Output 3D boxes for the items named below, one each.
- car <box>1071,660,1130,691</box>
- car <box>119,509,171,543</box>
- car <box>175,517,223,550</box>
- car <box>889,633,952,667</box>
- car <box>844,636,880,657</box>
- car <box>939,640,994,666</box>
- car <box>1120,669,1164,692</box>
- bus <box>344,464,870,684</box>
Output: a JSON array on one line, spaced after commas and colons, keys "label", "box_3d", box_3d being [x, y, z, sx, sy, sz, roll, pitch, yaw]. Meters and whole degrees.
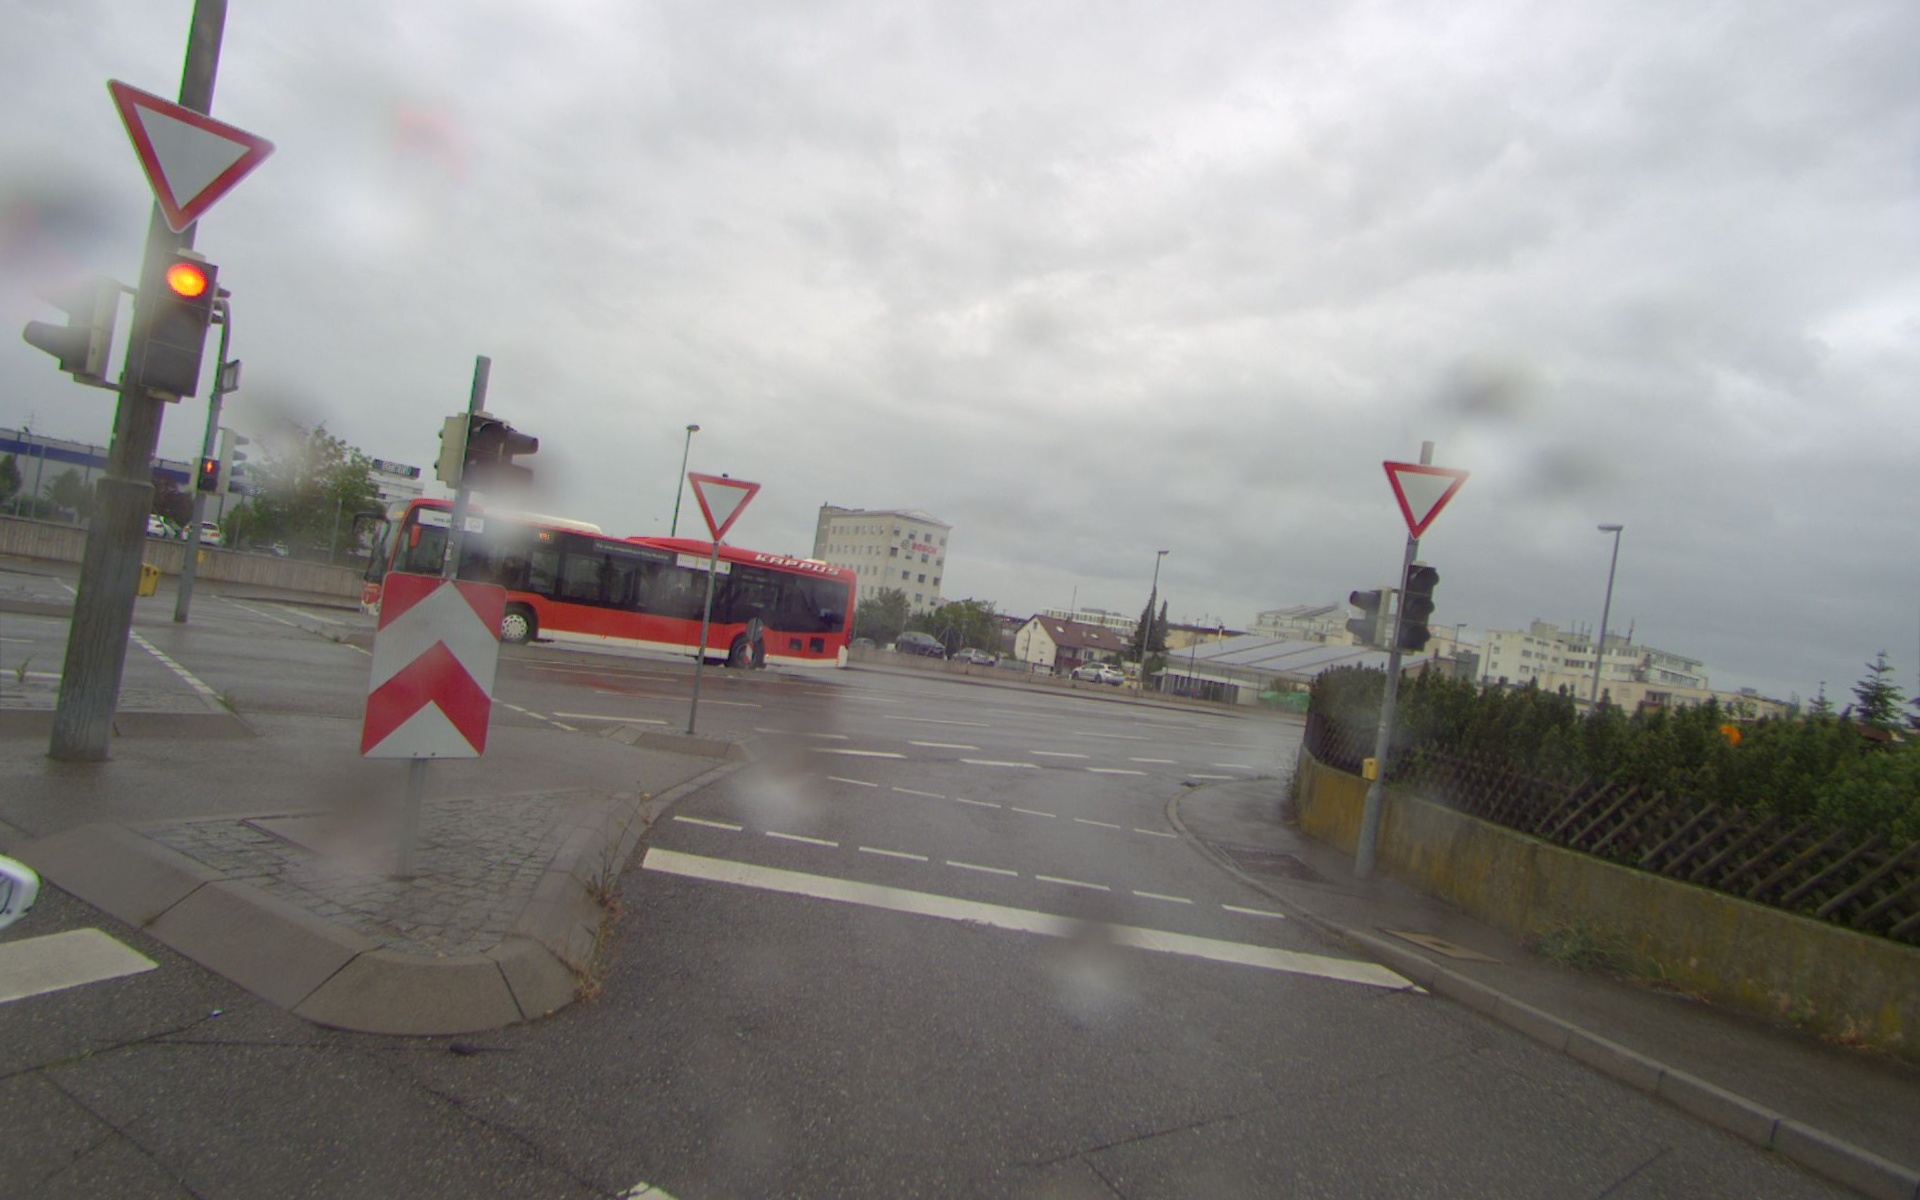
[{"label": "car", "box_3d": [9.736, 5.229, 70.044, 1.979, 1.494, 3.971, 9, -2, -29]}, {"label": "car", "box_3d": [-45.617, -4.157, 56.353, 1.985, 1.495, 3.959, 10, -2, -38]}, {"label": "car", "box_3d": [-43.897, -3.832, 58.020, 1.986, 1.495, 3.958, 10, -2, -38]}, {"label": "car", "box_3d": [-2.474, 3.067, 61.947, 1.983, 1.495, 3.964, 10, -2, -34]}, {"label": "car", "box_3d": [-9.814, 4.645, 100.604, 1.979, 1.494, 3.971, 9, -2, -29]}, {"label": "car", "box_3d": [0.545, 4.344, 82.216, 3.951, 1.494, 1.989, 9, -2, -24]}, {"label": "car", "box_3d": [18.090, 8.001, 100.095, 3.760, 1.771, 1.887, 9, -2, -29]}, {"label": "bus", "box_3d": [-8.341, -0.306, 25.903, 12.244, 3.357, 3.040, 12, -3, -41]}]
